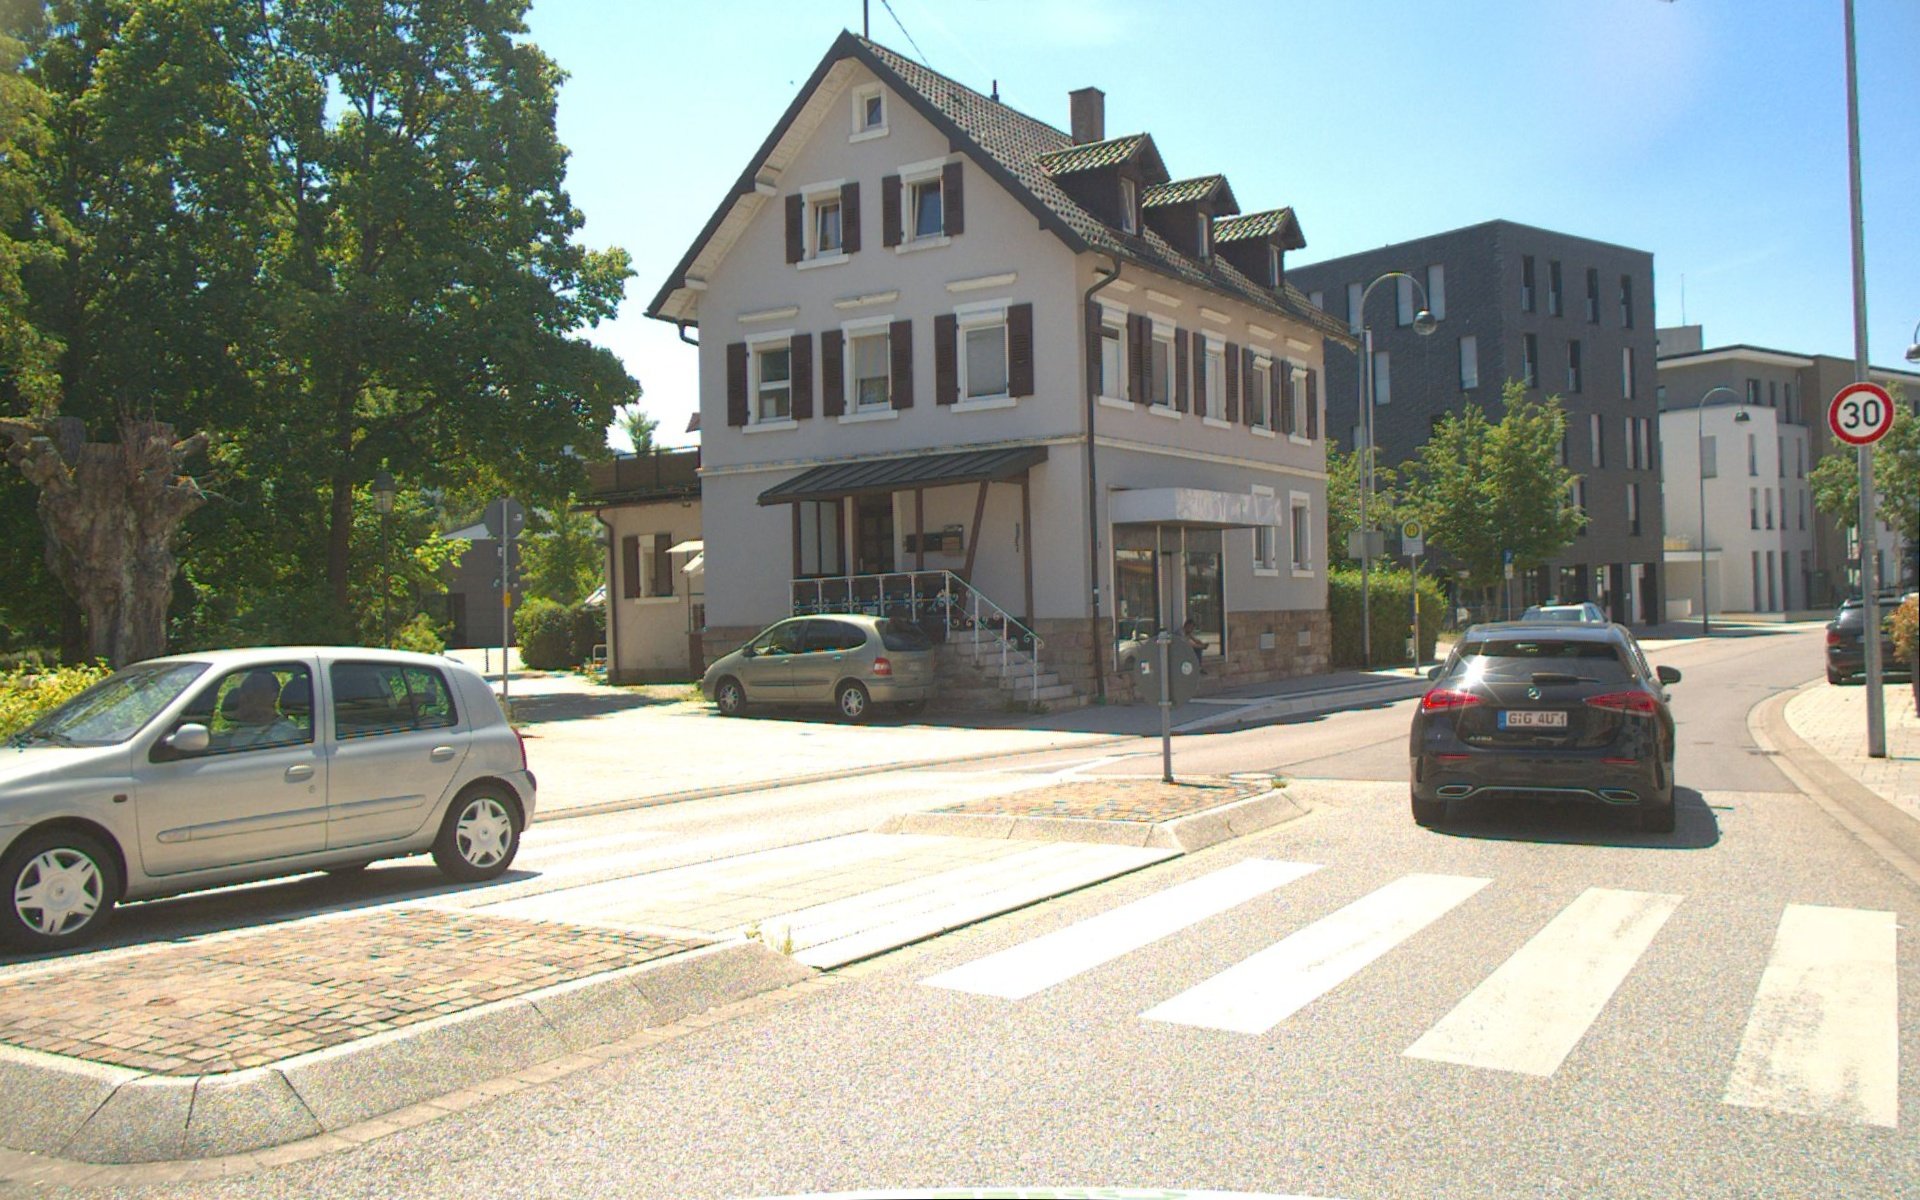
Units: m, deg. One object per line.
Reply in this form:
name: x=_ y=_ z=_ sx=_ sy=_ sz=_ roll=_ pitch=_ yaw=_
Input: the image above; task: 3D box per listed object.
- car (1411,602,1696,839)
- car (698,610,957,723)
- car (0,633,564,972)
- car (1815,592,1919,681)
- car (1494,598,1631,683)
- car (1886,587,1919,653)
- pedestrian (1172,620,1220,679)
car: x=4.705 y=0.794 z=12.944 sx=1.727 sy=1.483 sz=4.438 roll=-2 pitch=0 yaw=22
car: x=-2.163 y=1.057 z=26.682 sx=3.916 sy=1.668 sz=1.753 roll=-2 pitch=-1 yaw=34
car: x=-4.152 y=1.000 z=9.130 sx=1.518 sy=1.437 sz=3.705 roll=-5 pitch=-2 yaw=35
car: x=16.954 y=0.630 z=30.477 sx=1.719 sy=1.512 sz=3.989 roll=-2 pitch=-1 yaw=33
car: x=12.596 y=0.808 z=34.464 sx=1.646 sy=1.570 sz=4.070 roll=-4 pitch=-2 yaw=34
car: x=24.278 y=0.452 z=41.510 sx=1.576 sy=1.557 sz=3.483 roll=-4 pitch=-2 yaw=32
pedestrian: x=4.395 y=0.913 z=30.736 sx=0.657 sy=1.073 sz=0.698 roll=-2 pitch=-1 yaw=29
